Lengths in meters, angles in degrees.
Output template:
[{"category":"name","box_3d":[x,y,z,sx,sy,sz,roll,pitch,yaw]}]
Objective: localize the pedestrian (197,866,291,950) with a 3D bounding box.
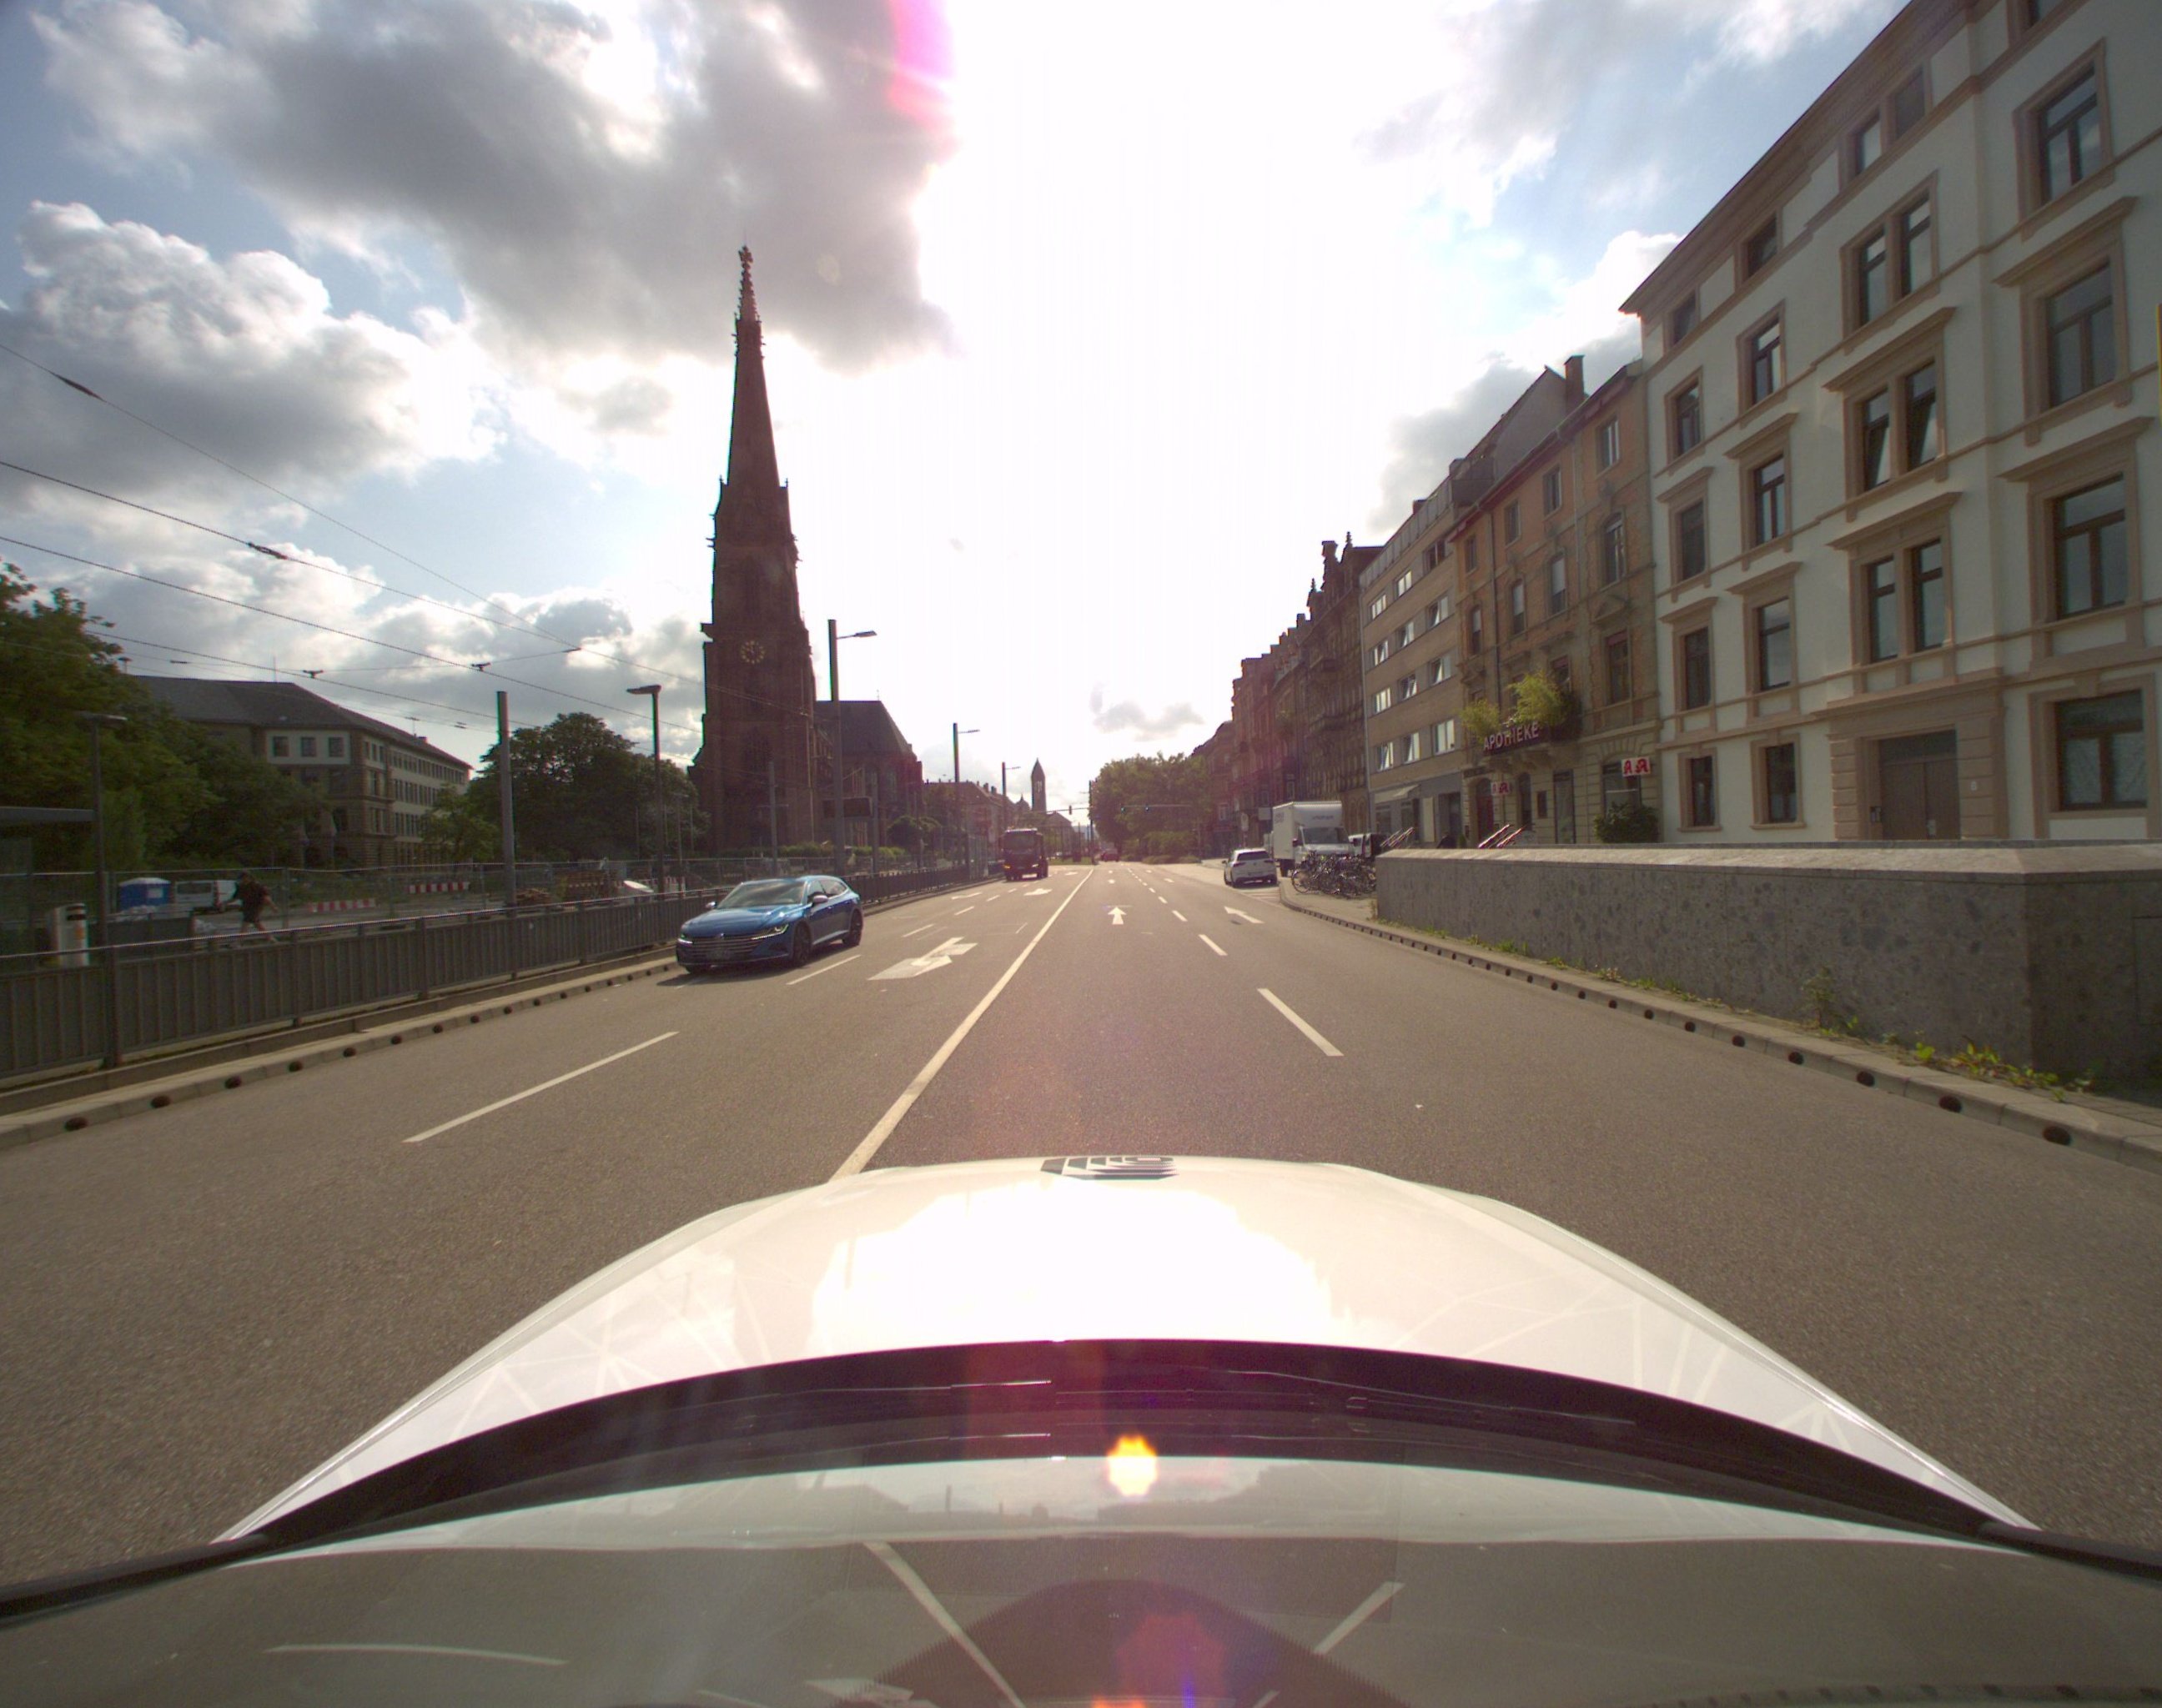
[{"category":"pedestrian","box_3d":[-19.024,1.213,18.535,0.992,1.799,1.049,-1,2,7]}]

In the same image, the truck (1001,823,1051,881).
[{"category":"truck","box_3d":[-3.676,-0.135,55.919,2.453,3.648,7.454,-2,0,2]}]

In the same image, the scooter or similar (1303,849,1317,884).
[{"category":"scooter or similar","box_3d":[8.238,0.442,29.352,0.366,1.213,1.255,0,0,11]}]

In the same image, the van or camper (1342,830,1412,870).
[{"category":"van or camper","box_3d":[16.311,-0.197,45.233,1.986,1.905,5.300,-4,0,2]}]

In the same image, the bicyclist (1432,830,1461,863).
[{"category":"bicyclist","box_3d":[13.626,-0.271,30.379,0.705,1.148,0.814,0,-4,4]}]

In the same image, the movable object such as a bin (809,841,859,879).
[{"category":"movable object such as a bin","box_3d":[-25.690,0.639,84.834,2.650,3.730,5.608,-2,0,9]}]

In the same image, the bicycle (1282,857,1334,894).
[{"category":"bicycle","box_3d":[7.013,0.648,25.168,1.600,1.085,0.370,-2,1,-18]}]

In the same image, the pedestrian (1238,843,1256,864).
[{"category":"pedestrian","box_3d":[10.526,0.004,51.624,0.748,1.316,0.812,1,-1,-37]}]

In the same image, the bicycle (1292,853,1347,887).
[{"category":"bicycle","box_3d":[8.027,0.537,27.407,1.755,1.085,0.372,-1,1,-4]}]

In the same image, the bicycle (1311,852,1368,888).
[{"category":"bicycle","box_3d":[8.220,0.514,25.901,1.759,1.085,0.371,-1,1,-11]}]

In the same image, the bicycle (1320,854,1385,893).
[{"category":"bicycle","box_3d":[7.992,0.575,23.983,1.750,1.085,0.373,-1,1,3]}]

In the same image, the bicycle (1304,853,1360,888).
[{"category":"bicycle","box_3d":[8.130,0.529,26.351,1.759,1.085,0.371,-1,1,-11]}]

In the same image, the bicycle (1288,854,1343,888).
[{"category":"bicycle","box_3d":[8.018,0.570,27.855,1.755,1.085,0.372,-1,1,-4]}]

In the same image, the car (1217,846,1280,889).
[{"category":"car","box_3d":[6.683,0.537,32.925,1.783,1.437,4.347,-6,-1,3]}]

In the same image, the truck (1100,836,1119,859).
[{"category":"truck","box_3d":[5.142,-1.142,147.054,3.157,3.287,7.298,-1,-5,3]}]

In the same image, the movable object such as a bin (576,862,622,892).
[{"category":"movable object such as a bin","box_3d":[-37.311,1.749,63.175,1.998,2.206,4.249,-2,0,-16]}]

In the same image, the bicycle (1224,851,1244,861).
[{"category":"bicycle","box_3d":[17.710,0.230,94.308,2.184,1.181,0.683,-2,0,-3]}]

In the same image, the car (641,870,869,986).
[{"category":"car","box_3d":[-5.334,1.124,14.104,1.842,1.455,4.558,-4,0,2]}]

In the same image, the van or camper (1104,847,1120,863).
[{"category":"van or camper","box_3d":[4.344,0.178,114.935,2.004,1.915,4.517,0,-4,-2]}]

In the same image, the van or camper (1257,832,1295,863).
[{"category":"van or camper","box_3d":[16.511,-0.523,69.300,1.986,2.474,5.568,-2,0,2]}]

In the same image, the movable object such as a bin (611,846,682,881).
[{"category":"movable object such as a bin","box_3d":[-37.282,0.789,69.928,4.884,2.802,2.001,-2,0,2]}]

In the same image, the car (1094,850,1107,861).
[{"category":"car","box_3d":[3.034,0.249,126.933,1.987,1.508,4.000,-2,0,0]}]

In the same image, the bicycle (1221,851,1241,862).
[{"category":"bicycle","box_3d":[17.583,0.327,95.665,2.184,1.181,0.683,-2,0,-3]}]

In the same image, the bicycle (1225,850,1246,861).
[{"category":"bicycle","box_3d":[17.755,0.176,93.542,2.184,1.181,0.683,-2,0,-3]}]

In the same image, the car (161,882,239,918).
[{"category":"car","box_3d":[-51.772,2.715,47.952,2.007,2.014,3.959,0,-4,-31]}]

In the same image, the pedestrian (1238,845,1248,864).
[{"category":"pedestrian","box_3d":[16.732,0.050,84.258,0.882,2.014,0.996,0,-1,2]}]

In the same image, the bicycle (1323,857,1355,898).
[{"category":"bicycle","box_3d":[7.265,0.642,22.952,0.370,1.071,1.765,-1,1,2]}]

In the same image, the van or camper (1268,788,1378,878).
[{"category":"van or camper","box_3d":[10.171,-0.761,35.108,2.701,3.331,7.646,-3,-1,3]}]

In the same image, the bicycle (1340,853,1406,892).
[{"category":"bicycle","box_3d":[8.412,0.538,23.512,1.750,1.085,0.373,-1,1,3]}]

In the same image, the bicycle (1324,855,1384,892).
[{"category":"bicycle","box_3d":[8.422,0.589,25.101,1.757,1.085,0.371,-1,1,-8]}]

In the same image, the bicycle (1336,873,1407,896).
[{"category":"bicycle","box_3d":[7.982,0.843,22.410,0.641,0.586,1.750,-2,-1,-38]}]

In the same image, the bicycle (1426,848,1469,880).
[{"category":"bicycle","box_3d":[13.626,0.389,30.331,0.701,1.048,2.210,0,-4,4]}]

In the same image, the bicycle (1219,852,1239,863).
[{"category":"bicycle","box_3d":[17.529,0.379,96.402,2.184,1.181,0.683,-2,0,-3]}]
